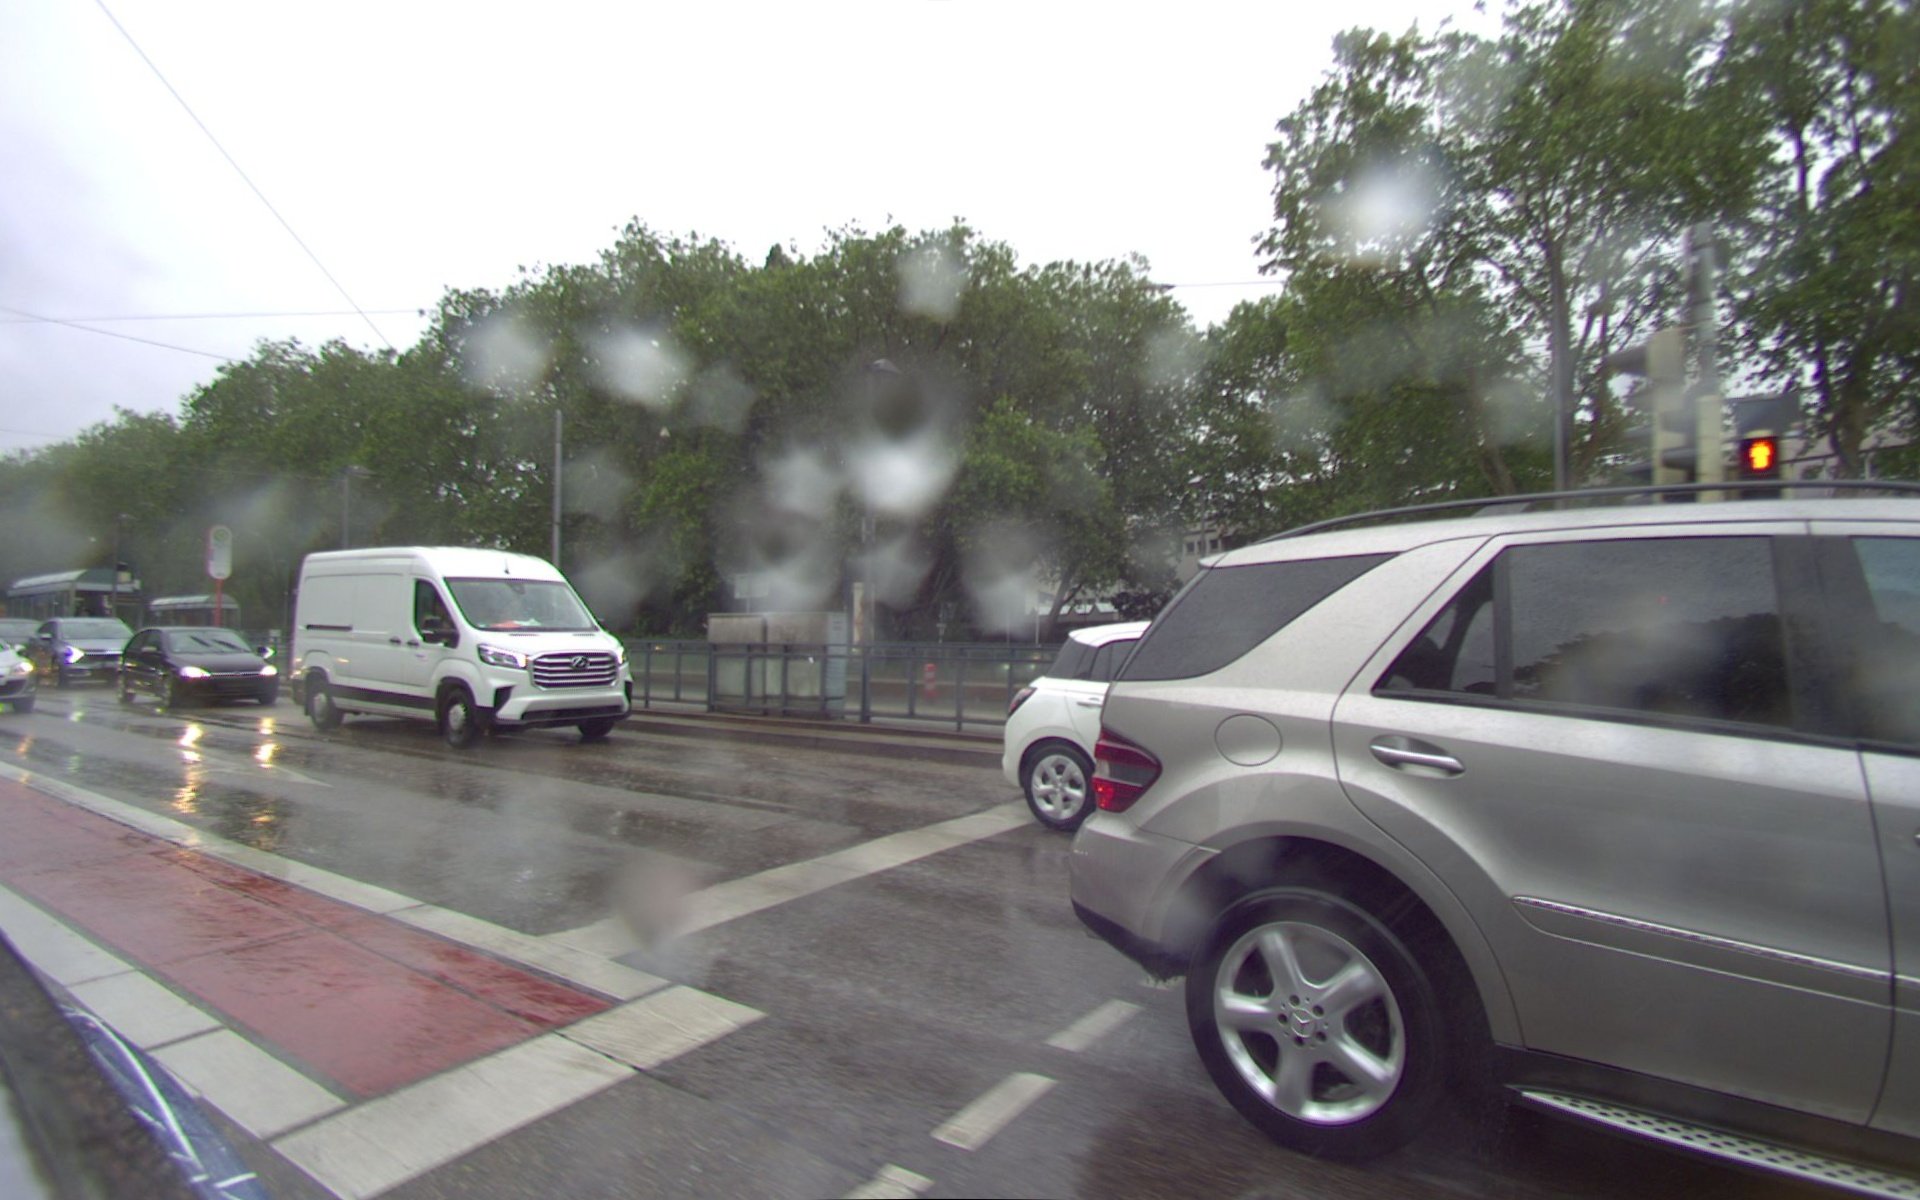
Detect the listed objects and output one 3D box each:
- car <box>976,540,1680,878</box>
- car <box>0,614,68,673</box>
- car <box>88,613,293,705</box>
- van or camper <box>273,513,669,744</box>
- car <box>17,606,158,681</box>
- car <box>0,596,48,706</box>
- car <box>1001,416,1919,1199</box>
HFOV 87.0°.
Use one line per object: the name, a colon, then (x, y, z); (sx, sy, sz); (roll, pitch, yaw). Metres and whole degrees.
car: (2.259, 0.606, 6.781); (4.068, 1.599, 1.784); (-3, -3, 38)
car: (-28.575, 1.313, 30.297); (4.181, 1.659, 1.891); (-2, -2, 35)
car: (-14.304, 1.059, 18.736); (4.547, 1.525, 1.766); (-2, -2, 36)
van or camper: (-6.685, 0.418, 13.517); (5.956, 2.490, 2.156); (-2, -3, 35)
car: (-21.121, 1.050, 24.461); (4.242, 1.647, 1.825); (-3, -2, 38)
car: (-17.212, 0.874, 16.954); (4.257, 1.755, 1.953); (-2, -2, 35)
car: (2.553, 0.481, 2.592); (4.673, 1.659, 1.890); (-2, -2, 38)
